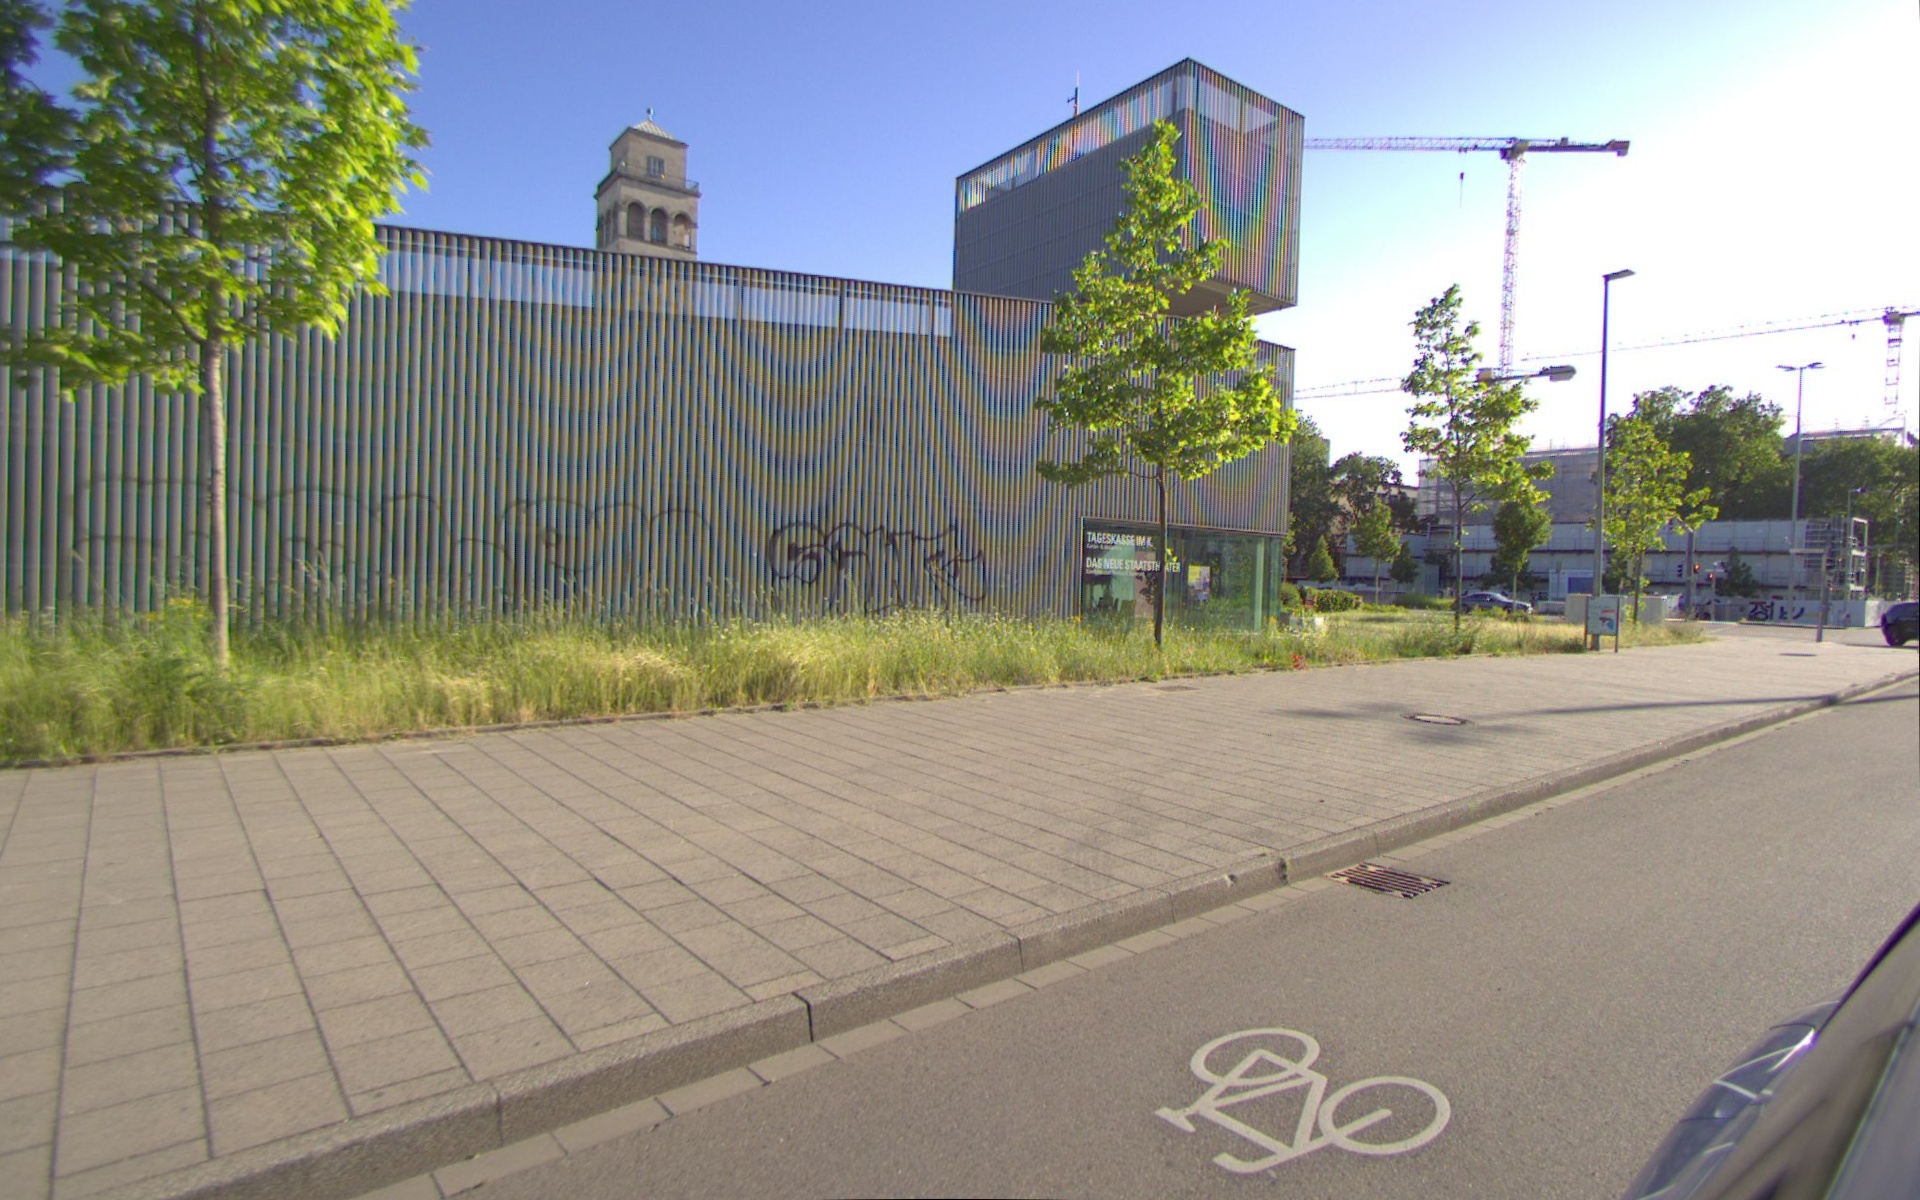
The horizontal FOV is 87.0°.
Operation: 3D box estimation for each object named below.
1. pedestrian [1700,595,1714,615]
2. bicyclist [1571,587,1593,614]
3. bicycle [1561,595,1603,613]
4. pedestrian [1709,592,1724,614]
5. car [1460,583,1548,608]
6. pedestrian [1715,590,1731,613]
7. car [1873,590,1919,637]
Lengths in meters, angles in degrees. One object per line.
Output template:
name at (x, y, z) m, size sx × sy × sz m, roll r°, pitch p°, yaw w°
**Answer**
pedestrian at (55.252, 0.350, 74.887) m, size 0.592 × 1.471 × 0.654 m, roll 1°, pitch 1°, yaw -34°
bicyclist at (35.492, 0.036, 57.766) m, size 0.614 × 1.522 × 0.936 m, roll 0°, pitch 2°, yaw -42°
bicycle at (35.492, 0.220, 57.761) m, size 0.614 × 0.920 × 1.907 m, roll -1°, pitch 2°, yaw -41°
pedestrian at (56.096, 0.195, 75.052) m, size 0.824 × 1.609 × 0.654 m, roll 1°, pitch 1°, yaw -34°
car at (33.704, -0.332, 62.809) m, size 1.742 × 1.368 × 4.529 m, roll 0°, pitch 3°, yaw -33°
pedestrian at (56.925, 0.136, 75.493) m, size 0.824 × 1.701 × 0.654 m, roll 1°, pitch 1°, yaw -34°
car at (35.732, 0.538, 36.109) m, size 1.963 × 1.683 × 4.791 m, roll 2°, pitch 1°, yaw 1°
